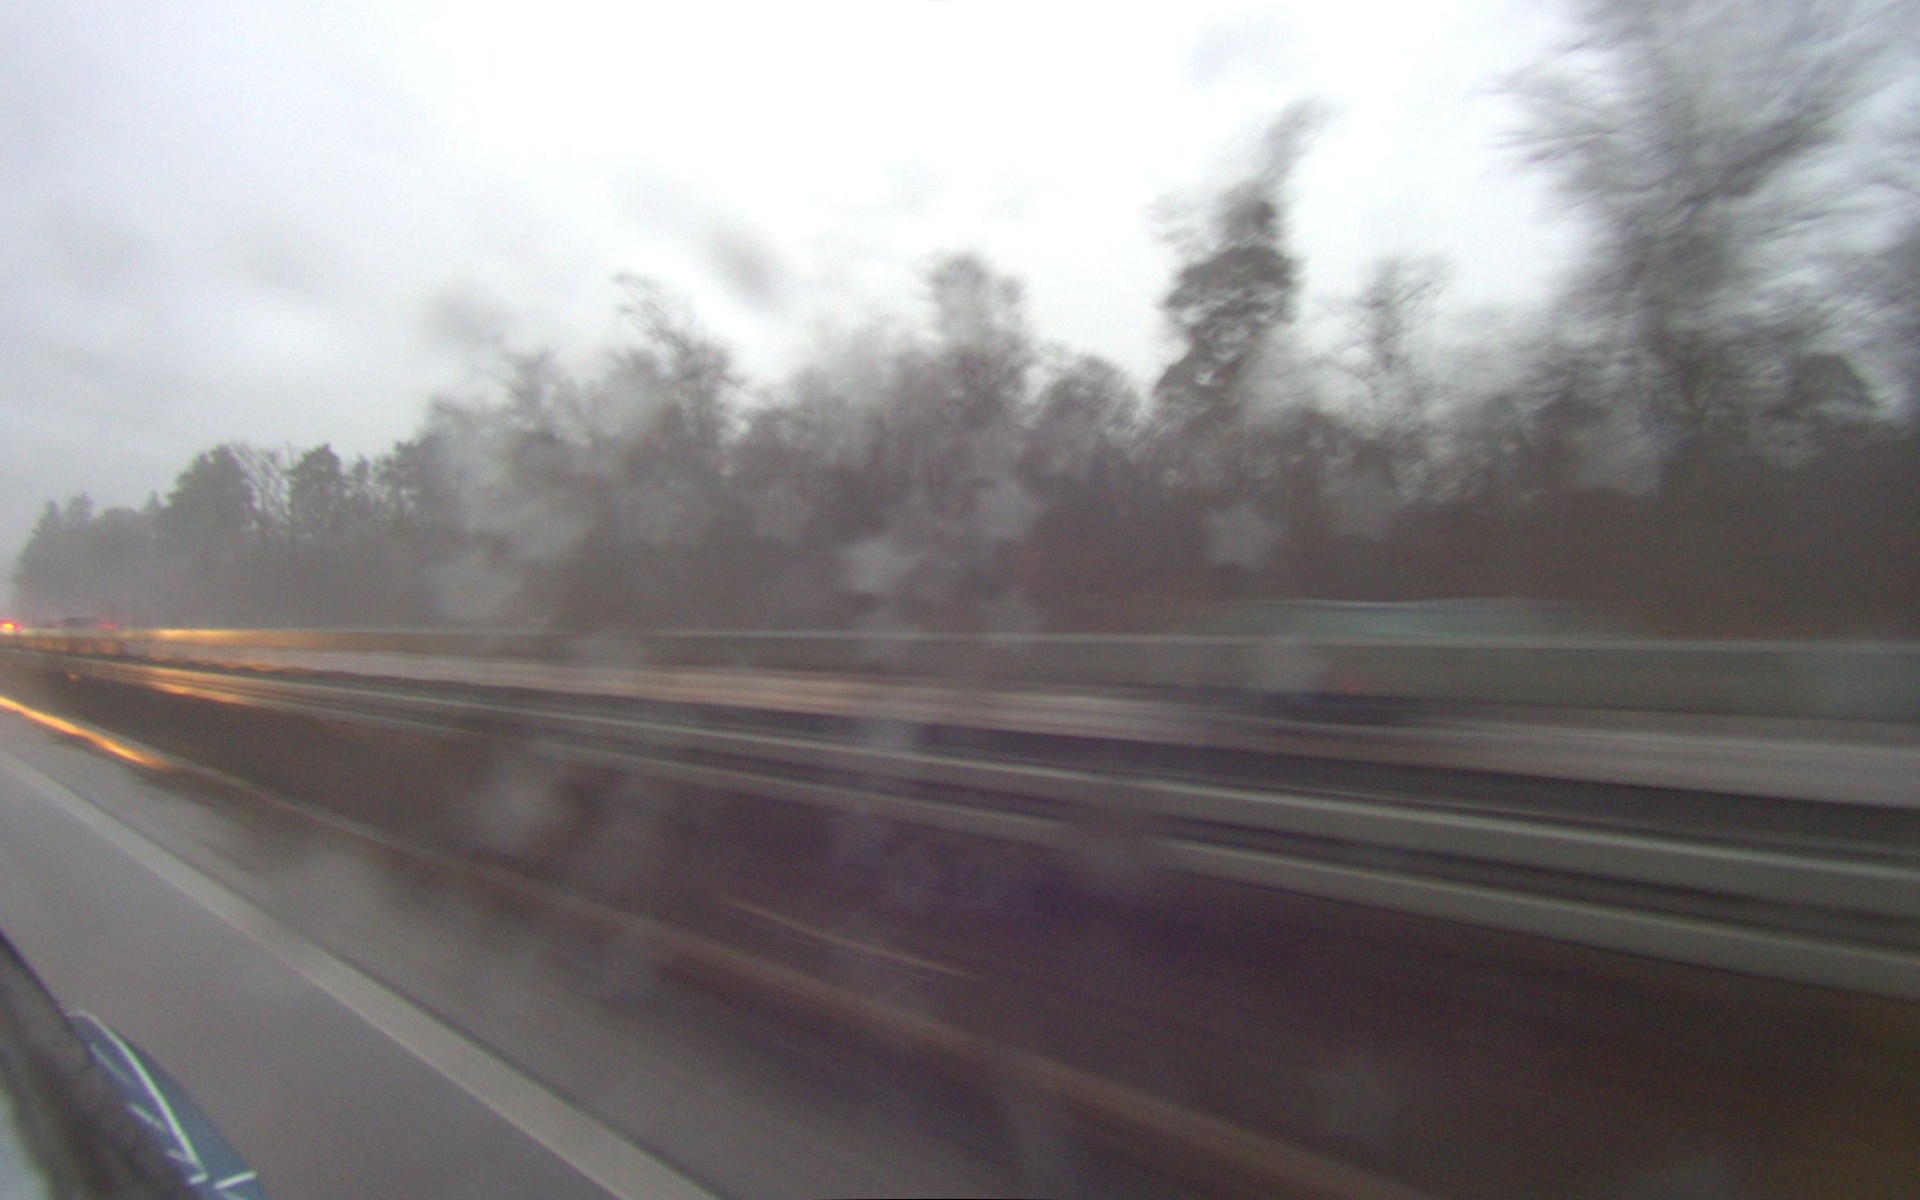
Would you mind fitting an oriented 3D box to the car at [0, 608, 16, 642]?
[{"bbox_3d":[-63.672,1.607,66.534,4.572,2.146,1.972,0,0,42],"label":"car"}]

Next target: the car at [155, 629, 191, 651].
[{"bbox_3d":[-54.817,2.755,70.481,3.754,1.427,1.510,-1,0,45],"label":"car"}]

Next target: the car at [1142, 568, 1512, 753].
[{"bbox_3d":[3.910,0.567,11.049,3.498,1.708,1.527,-1,0,39],"label":"car"}]

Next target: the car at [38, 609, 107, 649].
[{"bbox_3d":[-37.227,1.190,42.411,4.420,1.590,1.661,-1,0,42],"label":"car"}]
